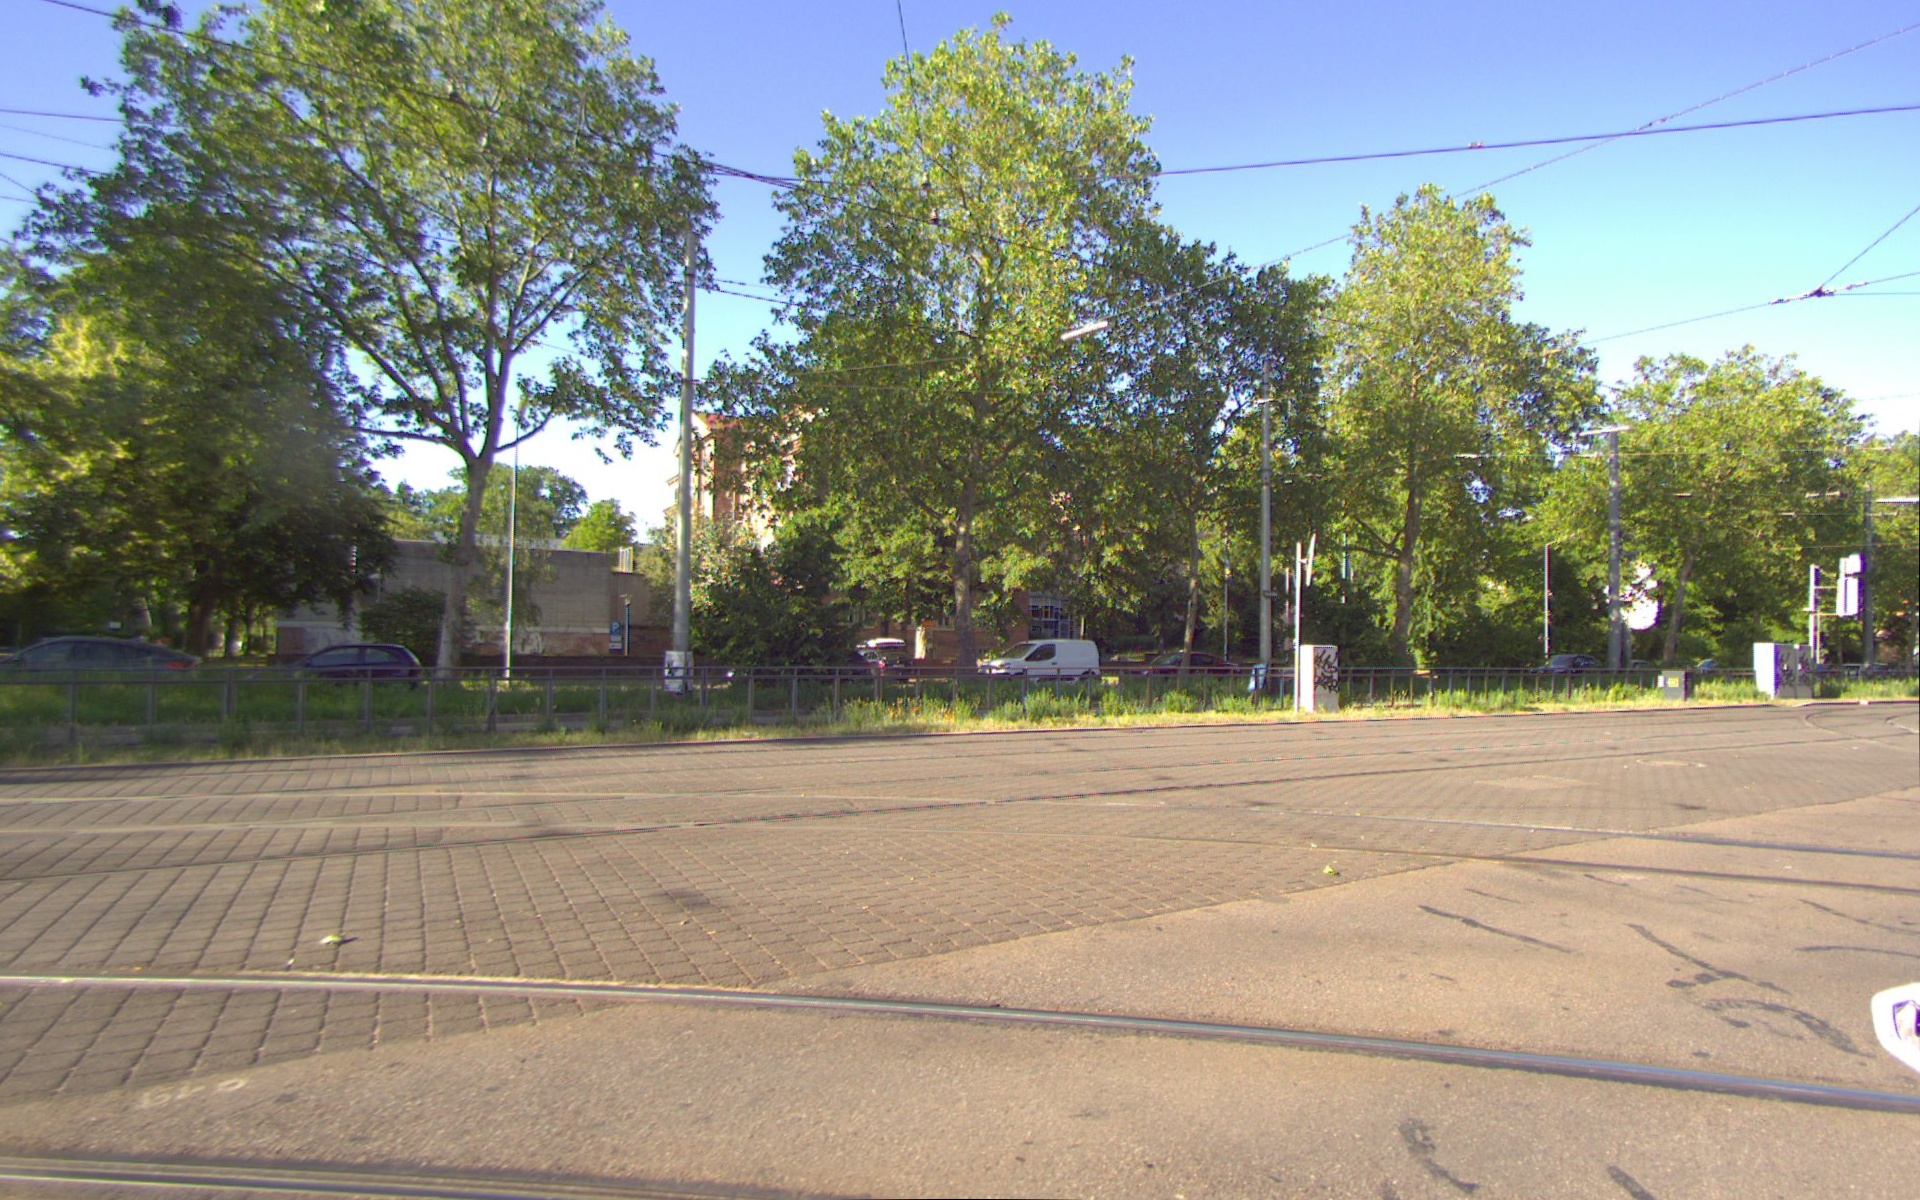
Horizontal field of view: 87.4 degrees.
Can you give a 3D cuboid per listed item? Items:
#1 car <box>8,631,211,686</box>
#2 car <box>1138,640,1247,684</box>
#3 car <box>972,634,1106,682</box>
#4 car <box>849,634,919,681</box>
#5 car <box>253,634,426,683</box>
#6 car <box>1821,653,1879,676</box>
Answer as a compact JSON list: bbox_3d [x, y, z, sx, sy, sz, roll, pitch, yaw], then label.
[{"bbox_3d":[-18.359,1.257,21.850,3.091,1.063,1.493,2,0,-30],"label":"car"},{"bbox_3d":[8.612,2.269,37.212,3.771,1.490,1.586,2,0,-26],"label":"car"},{"bbox_3d":[2.703,1.957,34.209,4.294,1.490,1.734,2,0,-29],"label":"car"},{"bbox_3d":[-3.233,2.375,42.280,1.594,1.841,3.924,2,-2,-26],"label":"car"},{"bbox_3d":[-14.599,1.377,23.827,3.364,1.043,1.473,2,0,-29],"label":"car"},{"bbox_3d":[58.730,4.236,66.290,3.735,1.329,1.761,2,0,-30],"label":"car"}]
